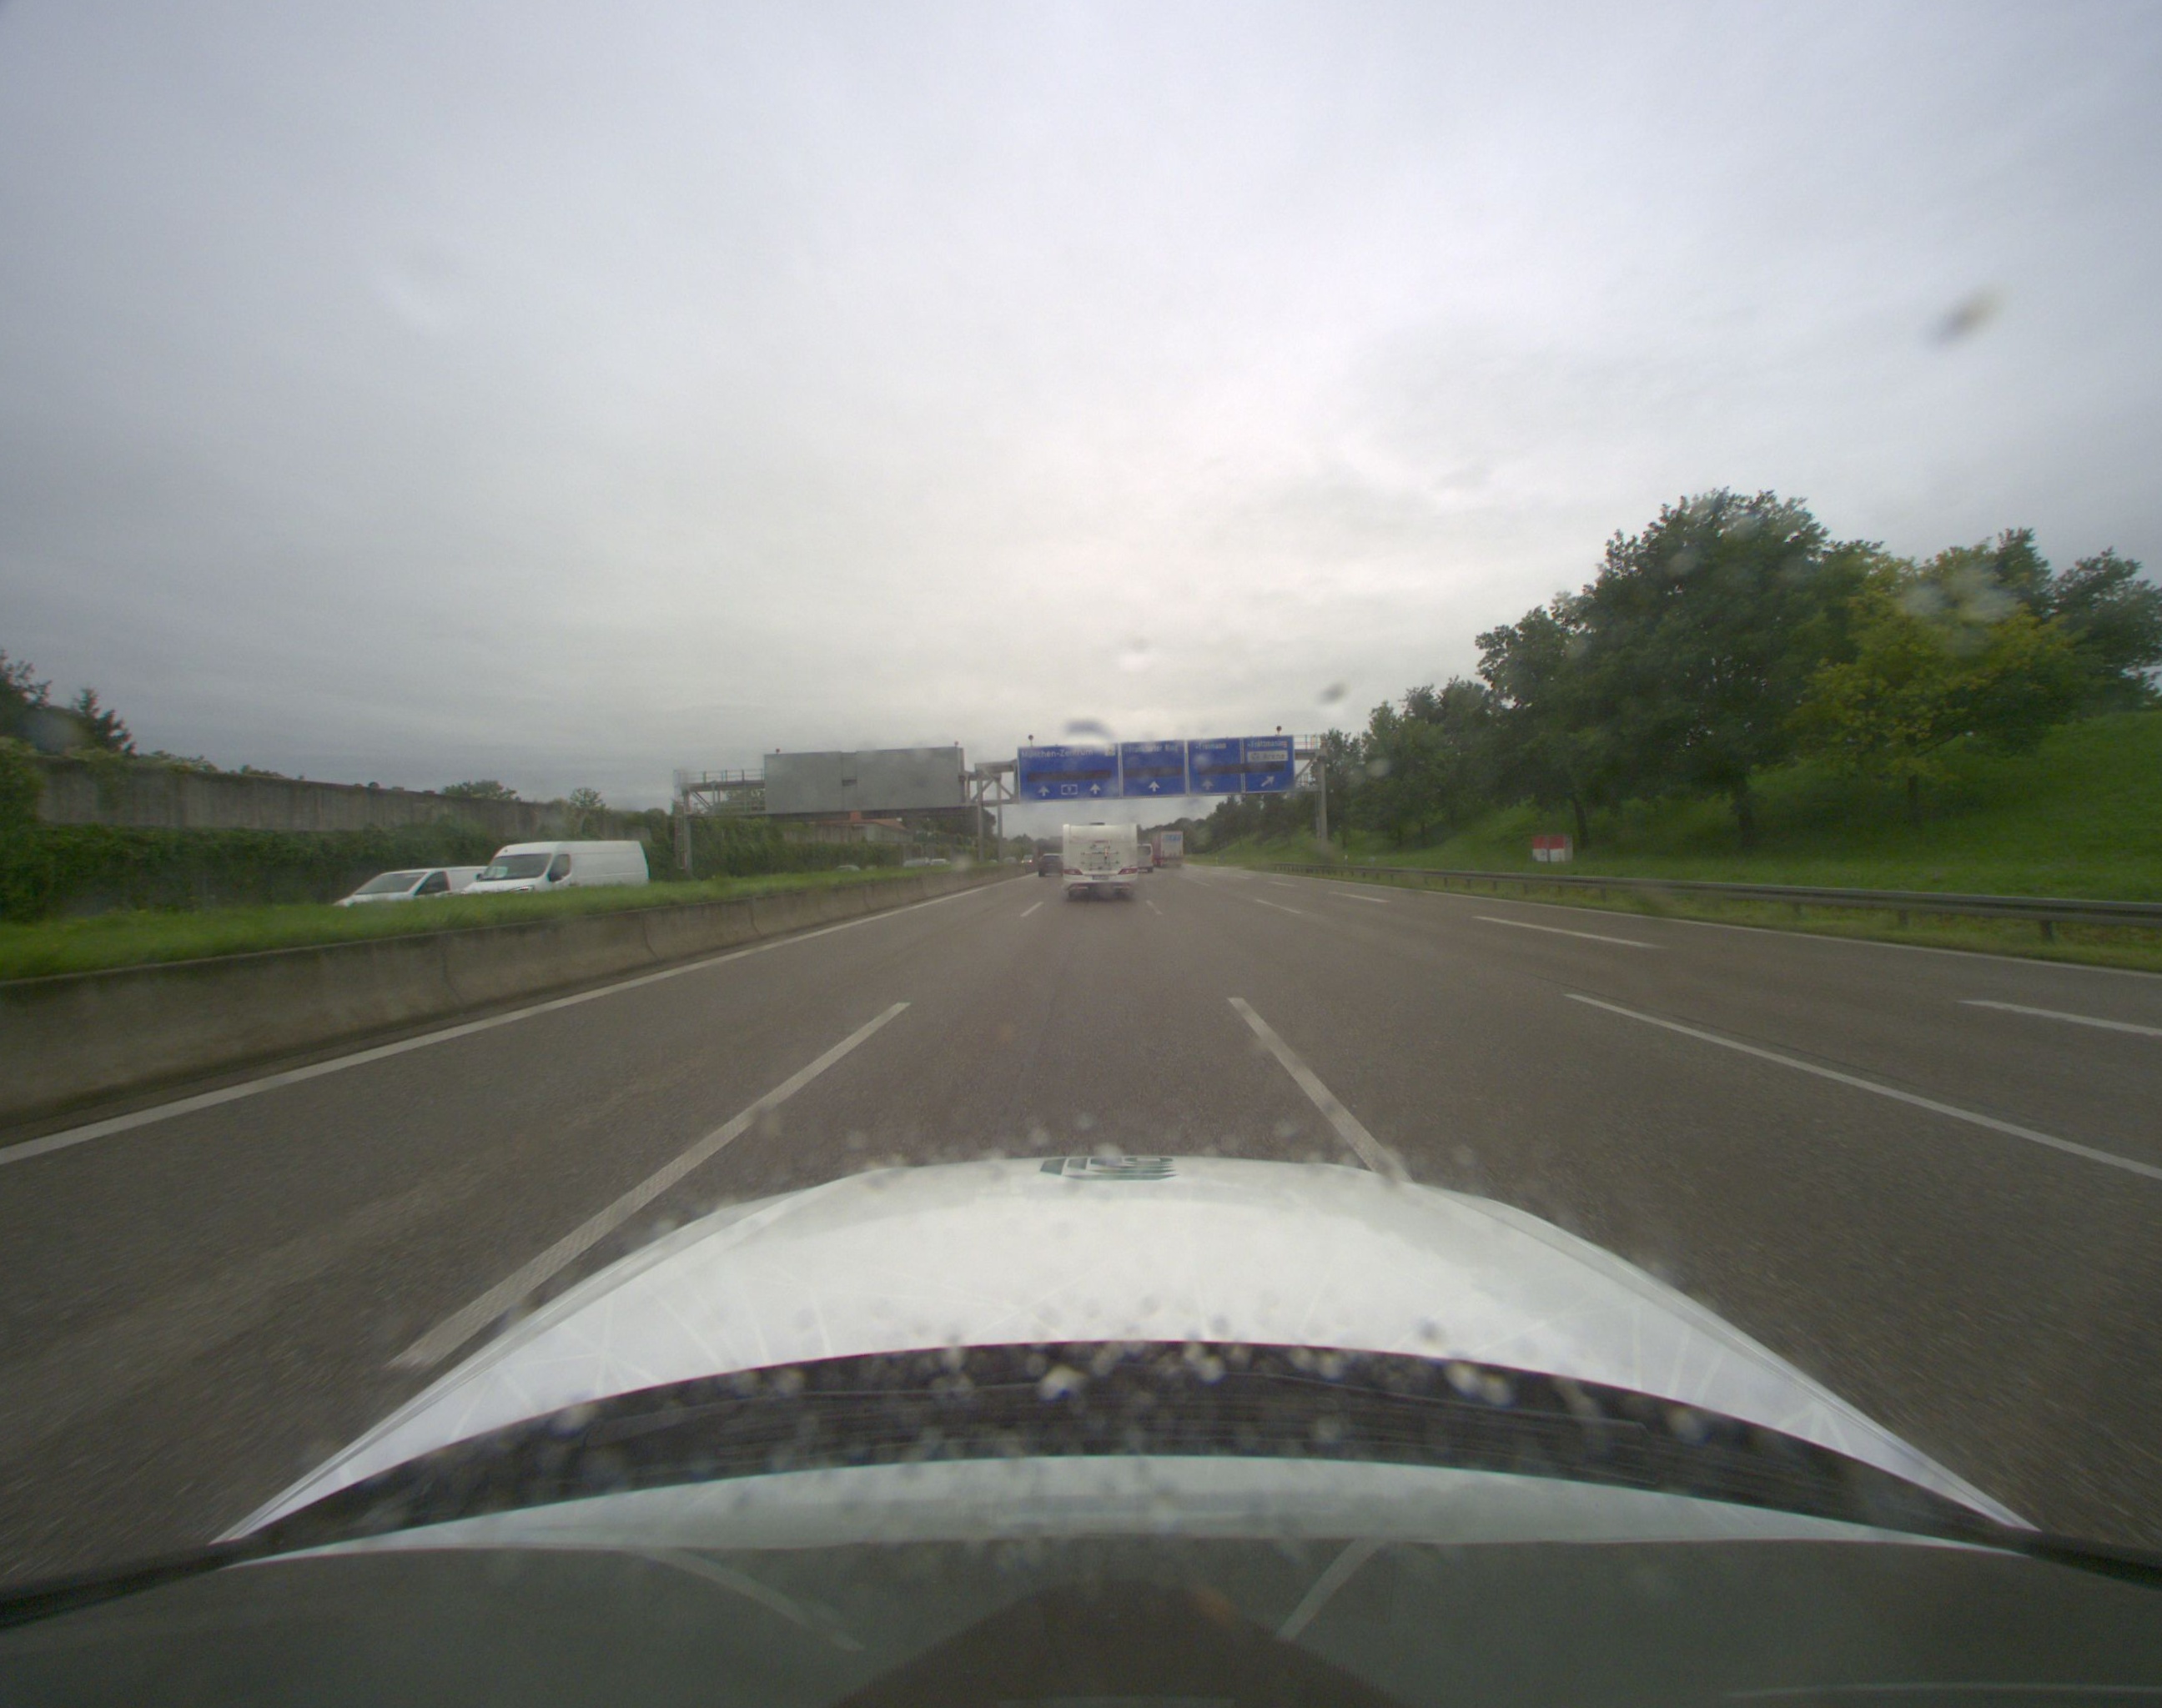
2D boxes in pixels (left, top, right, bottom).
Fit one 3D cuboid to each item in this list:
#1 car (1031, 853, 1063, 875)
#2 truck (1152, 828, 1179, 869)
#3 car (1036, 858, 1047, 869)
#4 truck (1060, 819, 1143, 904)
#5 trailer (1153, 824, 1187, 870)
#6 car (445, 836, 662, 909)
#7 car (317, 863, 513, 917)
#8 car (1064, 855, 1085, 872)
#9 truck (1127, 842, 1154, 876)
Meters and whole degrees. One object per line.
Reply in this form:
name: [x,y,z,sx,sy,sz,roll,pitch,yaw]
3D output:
car: [-2.450,0.726,60.083,1.986,1.600,5.124,0,0,1]
truck: [10.403,-0.640,100.478,3.036,4.839,5.854,0,-1,3]
car: [-7.546,1.818,155.828,1.847,2.014,3.853,0,0,2]
truck: [0.715,0.250,28.807,2.651,2.742,5.078,0,0,1]
trailer: [10.040,-0.658,93.274,3.087,4.922,11.797,0,0,3]
car: [-15.596,0.514,24.745,2.119,1.912,6.536,0,0,2]
car: [-19.076,0.979,23.657,1.872,1.344,4.528,-1,0,1]
car: [-0.650,1.015,87.014,2.120,1.706,4.113,1,-1,1]
truck: [5.039,0.416,69.355,2.046,2.770,5.550,0,0,1]
